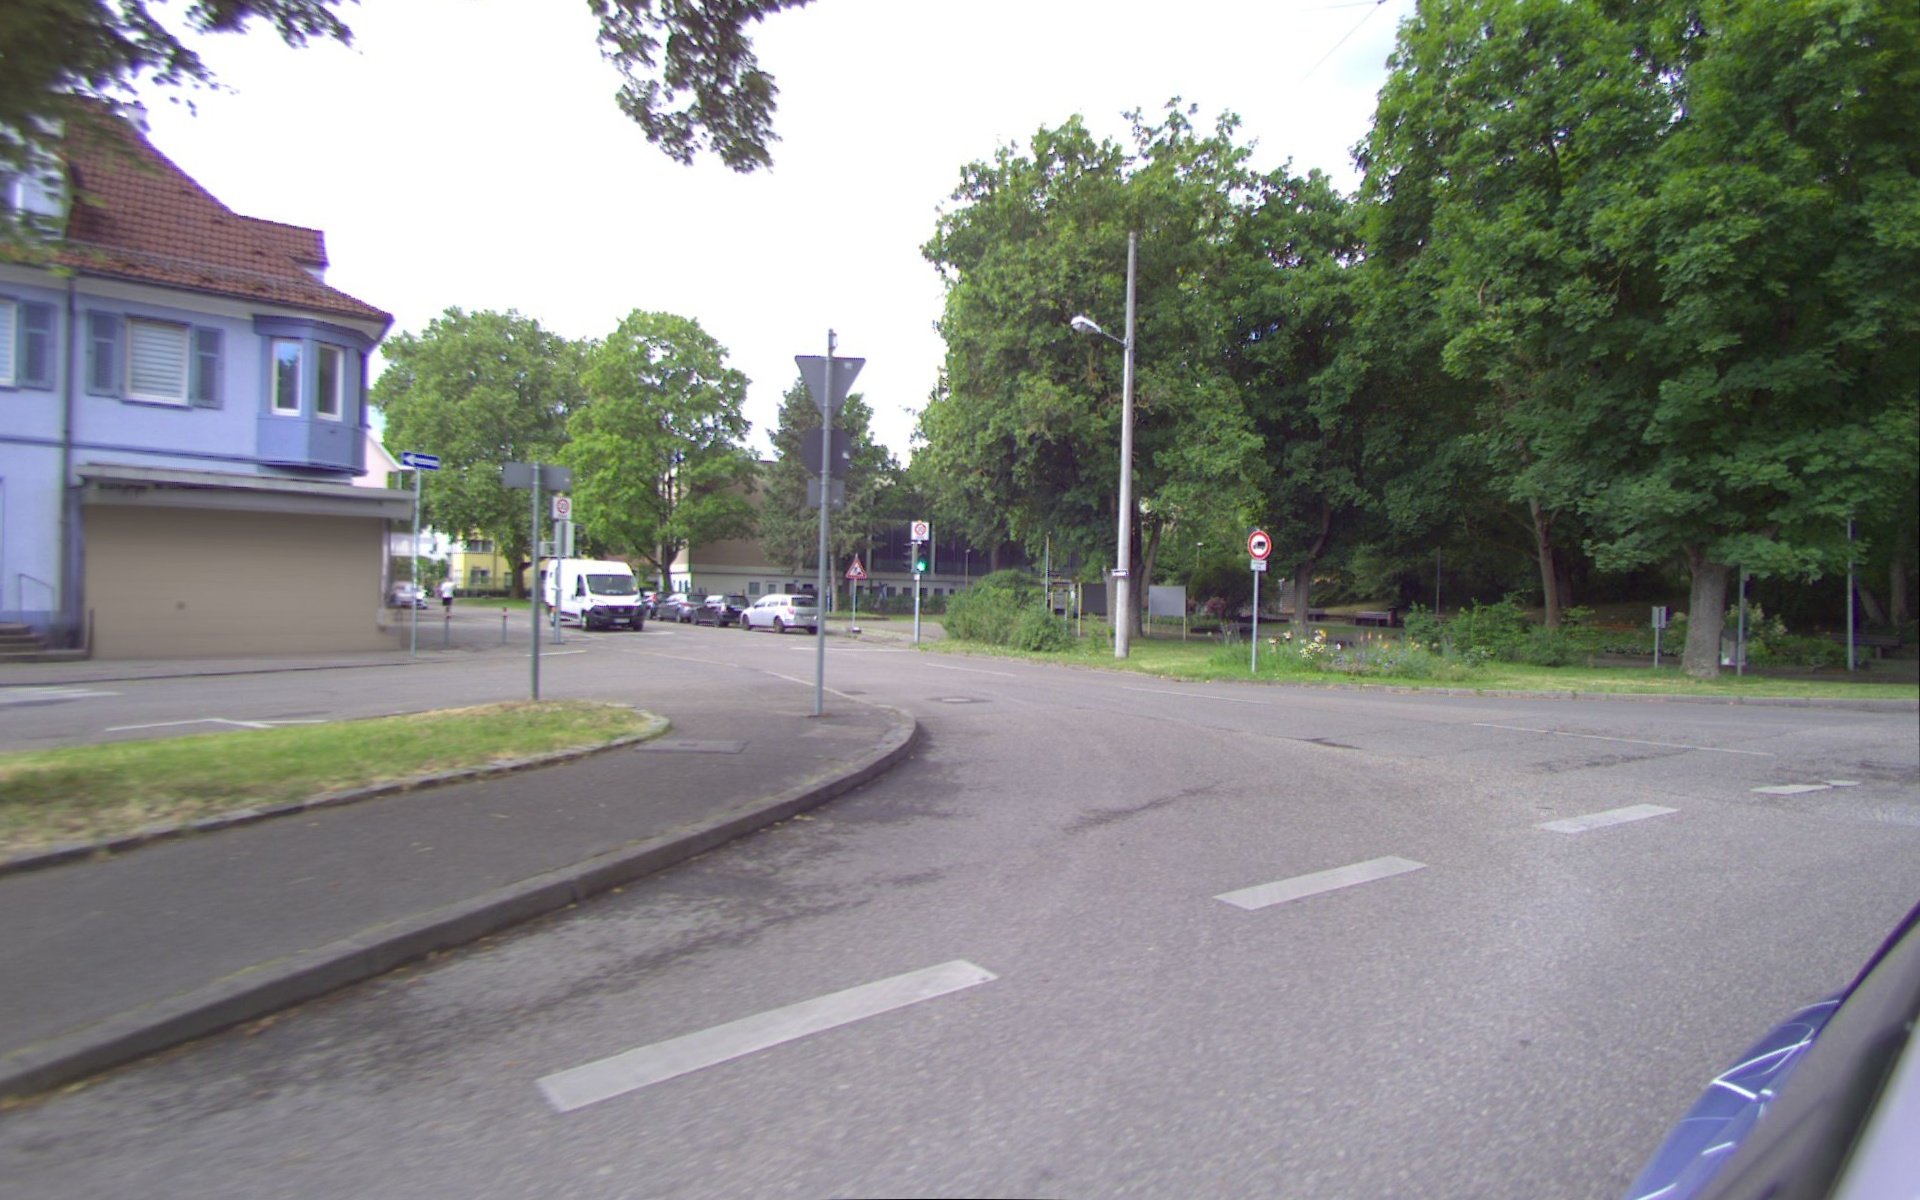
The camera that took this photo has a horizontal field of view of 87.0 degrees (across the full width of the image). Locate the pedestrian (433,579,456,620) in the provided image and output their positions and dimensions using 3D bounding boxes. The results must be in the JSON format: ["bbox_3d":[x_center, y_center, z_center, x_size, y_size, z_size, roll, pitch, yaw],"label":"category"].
[{"bbox_3d":[-21.882,-0.003,42.958,0.743,1.718,0.645,1,0,-40],"label":"pedestrian"}]

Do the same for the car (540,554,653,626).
[{"bbox_3d":[-13.379,-0.395,36.942,2.292,2.422,5.958,1,1,-36],"label":"car"}]

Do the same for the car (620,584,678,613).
[{"bbox_3d":[-16.046,-0.084,52.160,1.707,1.408,3.740,1,1,-36],"label":"car"}]

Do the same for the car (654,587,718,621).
[{"bbox_3d":[-13.012,0.167,47.932,1.679,1.505,3.760,1,1,-35],"label":"car"}]

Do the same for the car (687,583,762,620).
[{"bbox_3d":[-10.264,0.051,43.907,1.768,1.474,3.958,1,1,-36],"label":"car"}]

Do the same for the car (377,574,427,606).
[{"bbox_3d":[-32.265,-0.598,58.453,1.904,1.749,3.778,1,1,-38],"label":"car"}]

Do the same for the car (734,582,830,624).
[{"bbox_3d":[-7.008,0.086,39.451,1.865,1.474,4.546,1,1,-36],"label":"car"}]
